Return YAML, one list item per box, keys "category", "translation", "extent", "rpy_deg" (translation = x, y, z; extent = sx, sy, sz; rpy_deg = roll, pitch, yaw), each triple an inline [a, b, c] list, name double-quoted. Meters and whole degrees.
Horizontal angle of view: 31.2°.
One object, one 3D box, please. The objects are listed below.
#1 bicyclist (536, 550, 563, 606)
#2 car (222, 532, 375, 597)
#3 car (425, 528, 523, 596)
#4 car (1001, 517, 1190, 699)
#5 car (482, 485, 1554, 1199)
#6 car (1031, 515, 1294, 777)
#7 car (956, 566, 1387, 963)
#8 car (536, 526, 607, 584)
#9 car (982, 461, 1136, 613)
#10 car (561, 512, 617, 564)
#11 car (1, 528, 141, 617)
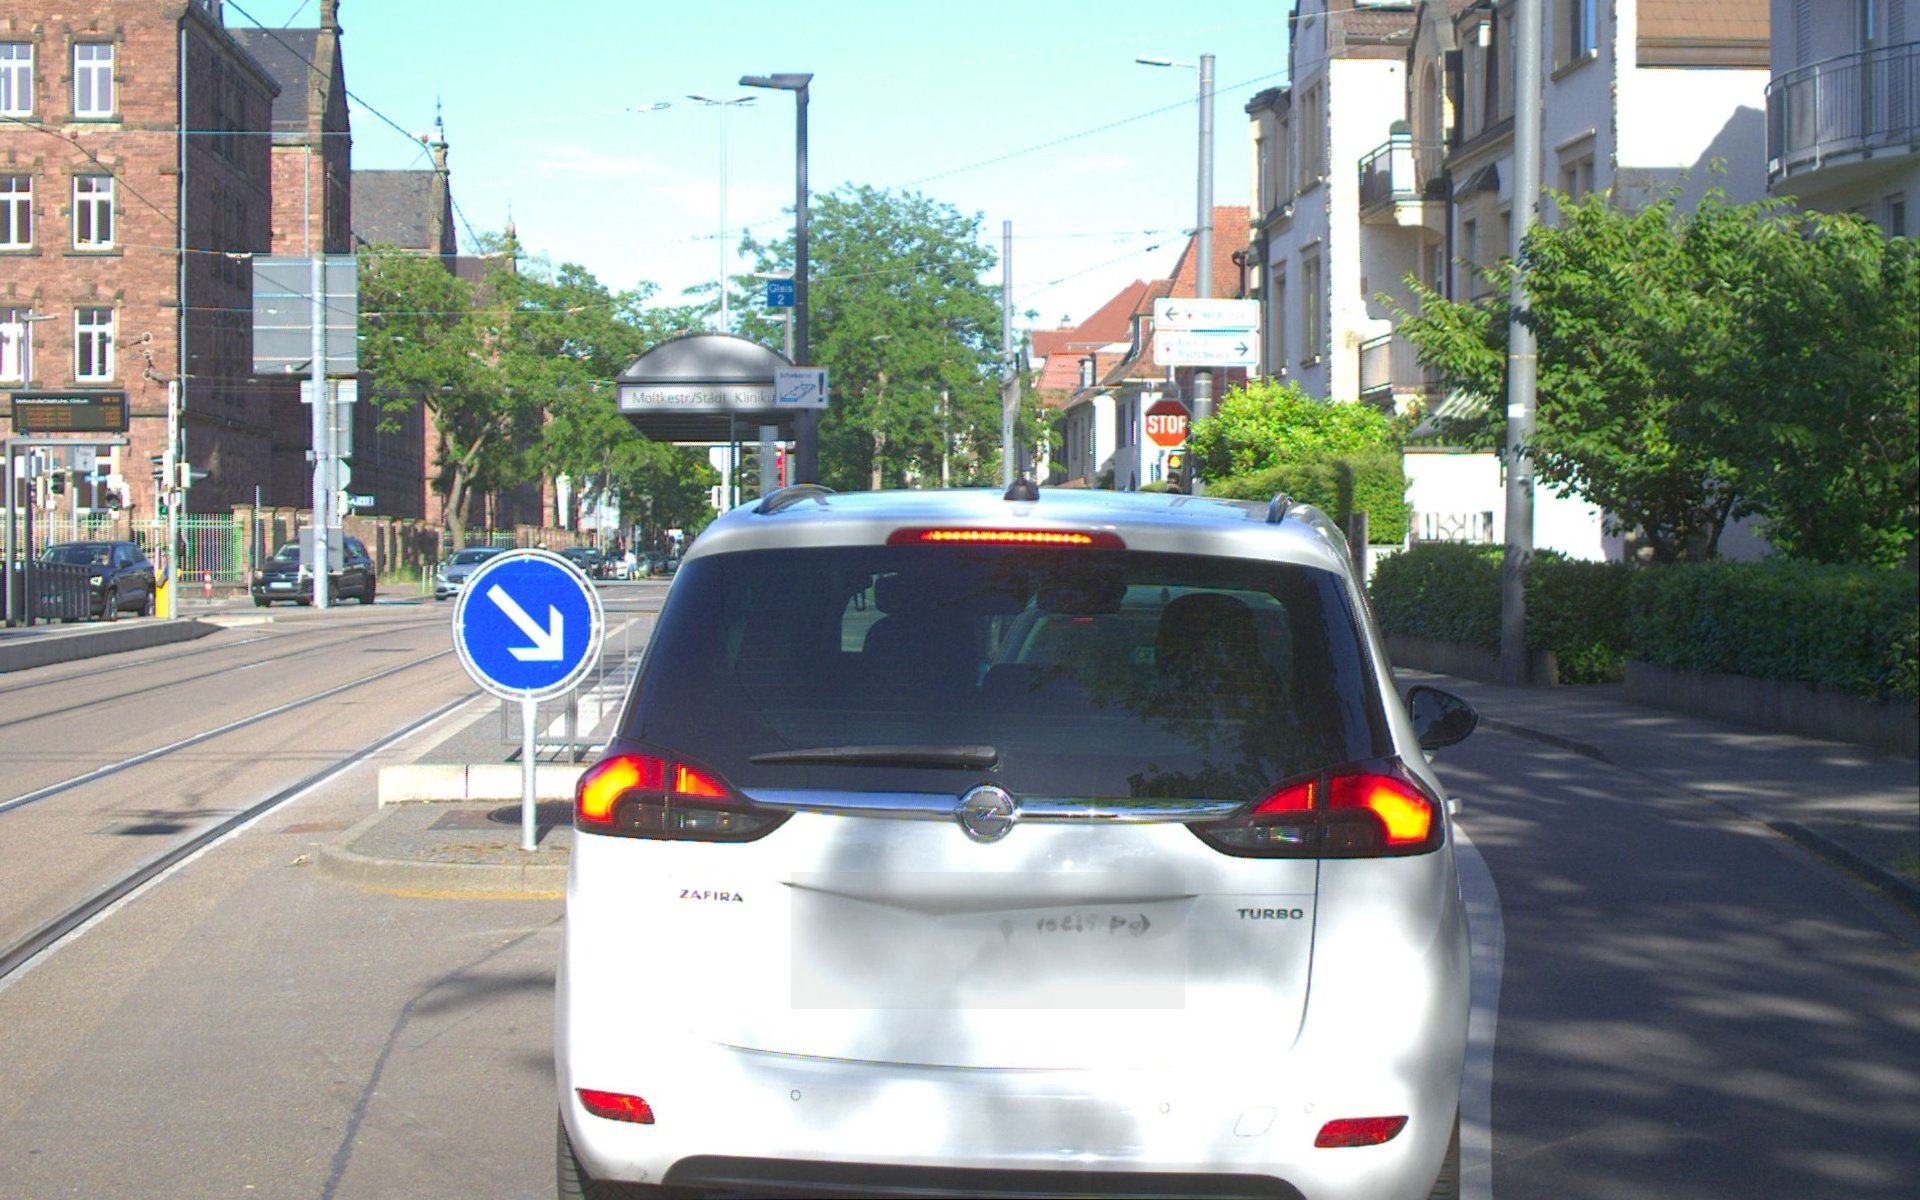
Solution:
- category: "bicyclist"
  translation: [-12.601, -0.685, 105.572]
  extent: [0.725, 1.682, 1.170]
  rpy_deg: [0, 2, -2]
- category: "car"
  translation: [-15.278, -0.810, 79.591]
  extent: [1.828, 1.441, 4.324]
  rpy_deg: [1, 0, 14]
- category: "car"
  translation: [-13.142, -1.014, 93.157]
  extent: [1.827, 1.782, 4.327]
  rpy_deg: [1, 0, 3]
- category: "car"
  translation: [1.274, 0.040, 33.742]
  extent: [1.596, 1.629, 3.901]
  rpy_deg: [2, 1, -1]
- category: "car"
  translation: [0.260, 0.565, 8.085]
  extent: [1.878, 1.579, 3.999]
  rpy_deg: [1, 1, 5]
- category: "car"
  translation: [1.320, 0.251, 23.686]
  extent: [1.569, 1.609, 3.784]
  rpy_deg: [2, 1, 0]
- category: "car"
  translation: [0.954, 0.596, 14.784]
  extent: [1.569, 1.396, 3.783]
  rpy_deg: [2, 1, 5]
- category: "car"
  translation: [-13.766, -1.597, 122.016]
  extent: [1.993, 2.007, 4.000]
  rpy_deg: [1, 1, 1]
- category: "car"
  translation: [1.116, -0.762, 40.260]
  extent: [1.596, 1.629, 3.902]
  rpy_deg: [2, 2, -1]
- category: "car"
  translation: [-14.576, -2.429, 135.259]
  extent: [1.993, 2.007, 4.001]
  rpy_deg: [1, 1, -3]
- category: "car"
  translation: [-16.921, -0.512, 65.618]
  extent: [1.826, 1.611, 4.328]
  rpy_deg: [0, 0, -4]
